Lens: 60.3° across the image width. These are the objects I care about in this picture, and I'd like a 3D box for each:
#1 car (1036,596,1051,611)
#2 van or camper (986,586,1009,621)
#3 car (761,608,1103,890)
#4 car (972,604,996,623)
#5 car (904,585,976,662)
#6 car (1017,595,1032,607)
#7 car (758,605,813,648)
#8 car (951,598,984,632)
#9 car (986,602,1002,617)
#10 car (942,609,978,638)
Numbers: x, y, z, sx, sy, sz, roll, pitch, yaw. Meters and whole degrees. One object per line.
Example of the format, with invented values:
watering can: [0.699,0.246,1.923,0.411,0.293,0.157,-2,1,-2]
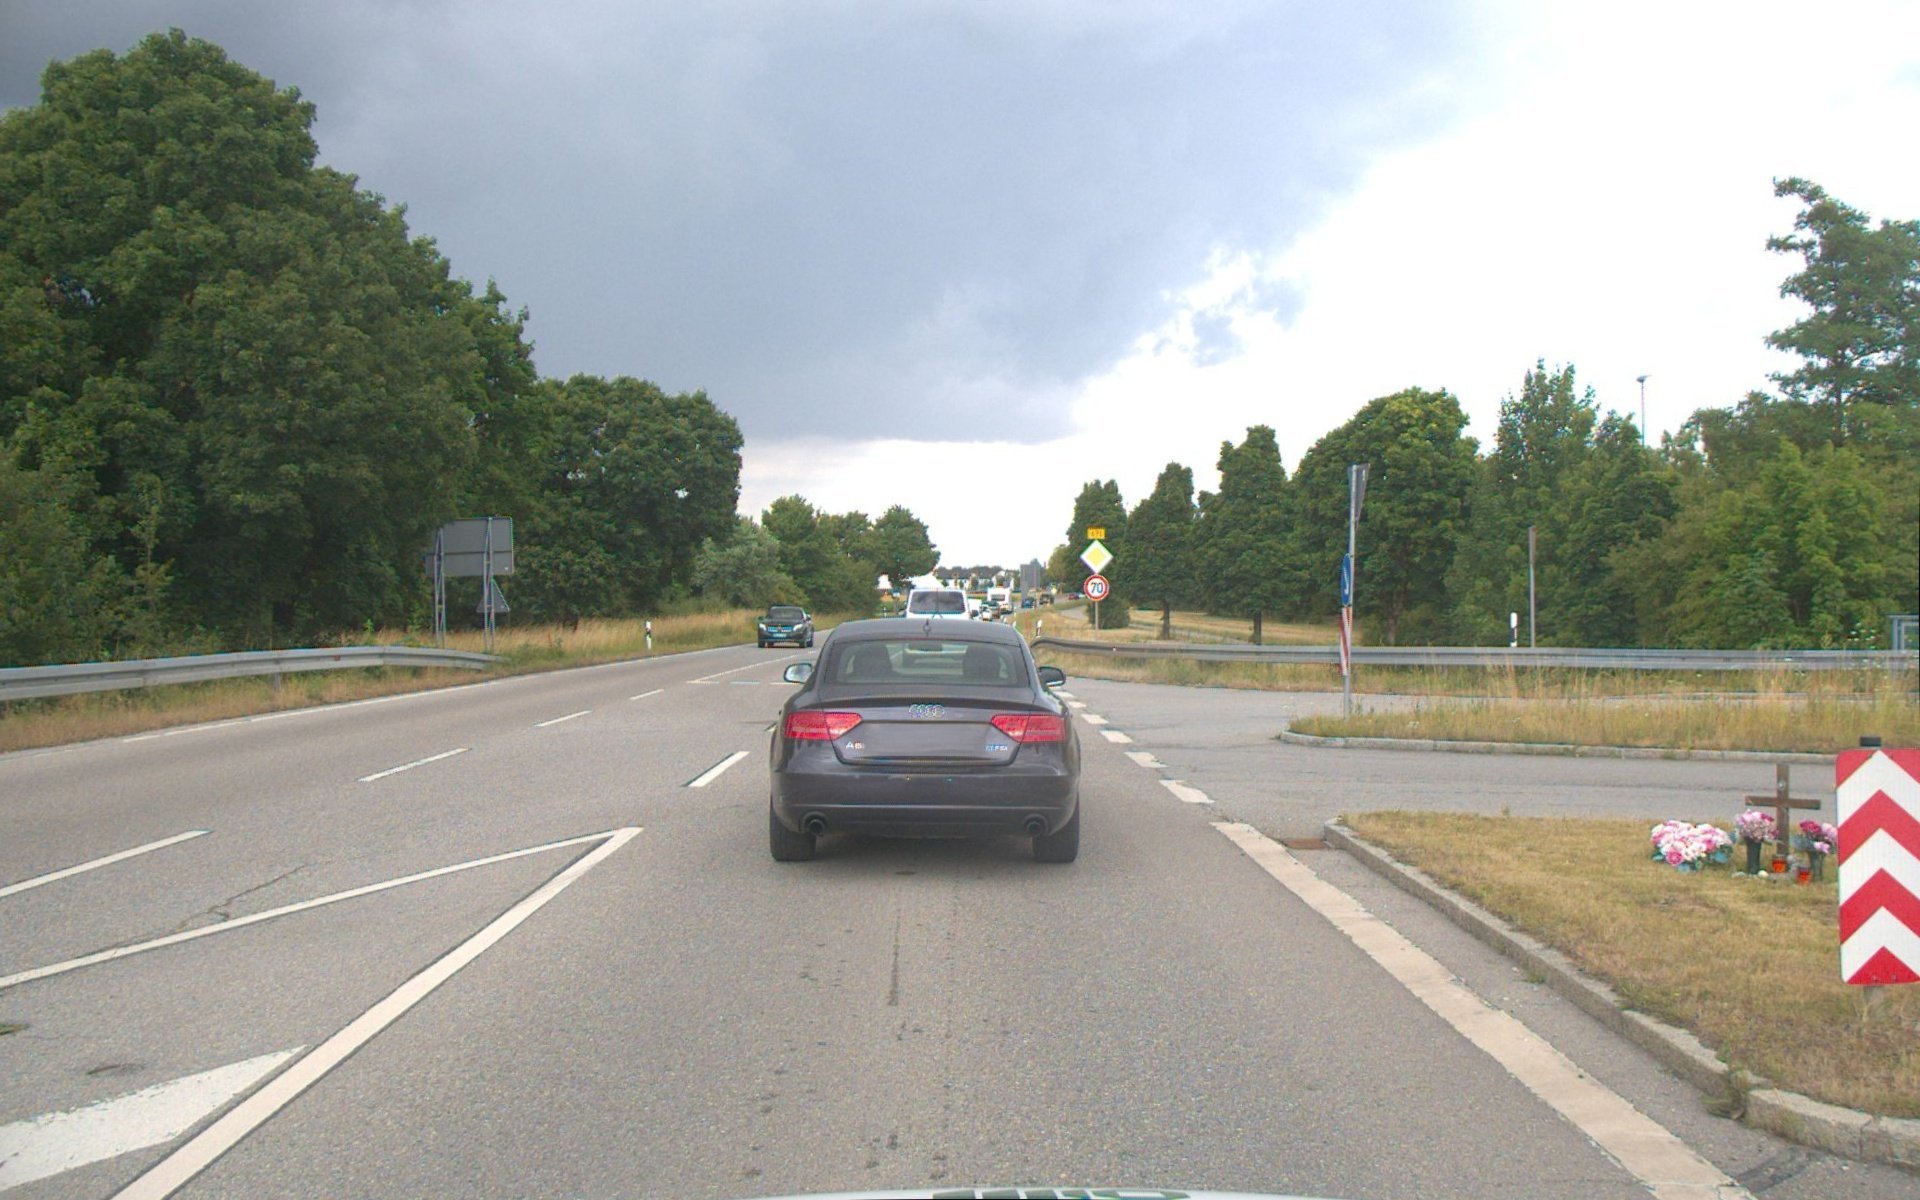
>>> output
car: [11.894,0.499,235.515,1.953,2.049,3.999,0,0,-1]
van or camper: [3.805,0.357,169.282,2.292,3.542,5.719,0,0,1]
car: [-0.173,0.781,10.554,1.746,1.400,3.999,1,0,-1]
car: [1.958,1.143,136.097,1.699,1.541,3.749,0,0,5]
car: [-0.539,0.590,43.637,1.801,1.915,3.999,1,0,-1]
car: [8.134,0.177,209.187,1.684,1.477,4.000,1,0,0]
car: [-6.545,0.981,62.351,1.676,1.549,3.999,0,0,-1]
car: [0.486,0.950,104.666,1.952,2.125,4.001,0,0,2]
car: [3.074,0.894,151.042,1.231,1.377,3.468,0,0,5]
car: [-0.004,1.259,88.536,1.758,1.490,3.249,0,0,3]
